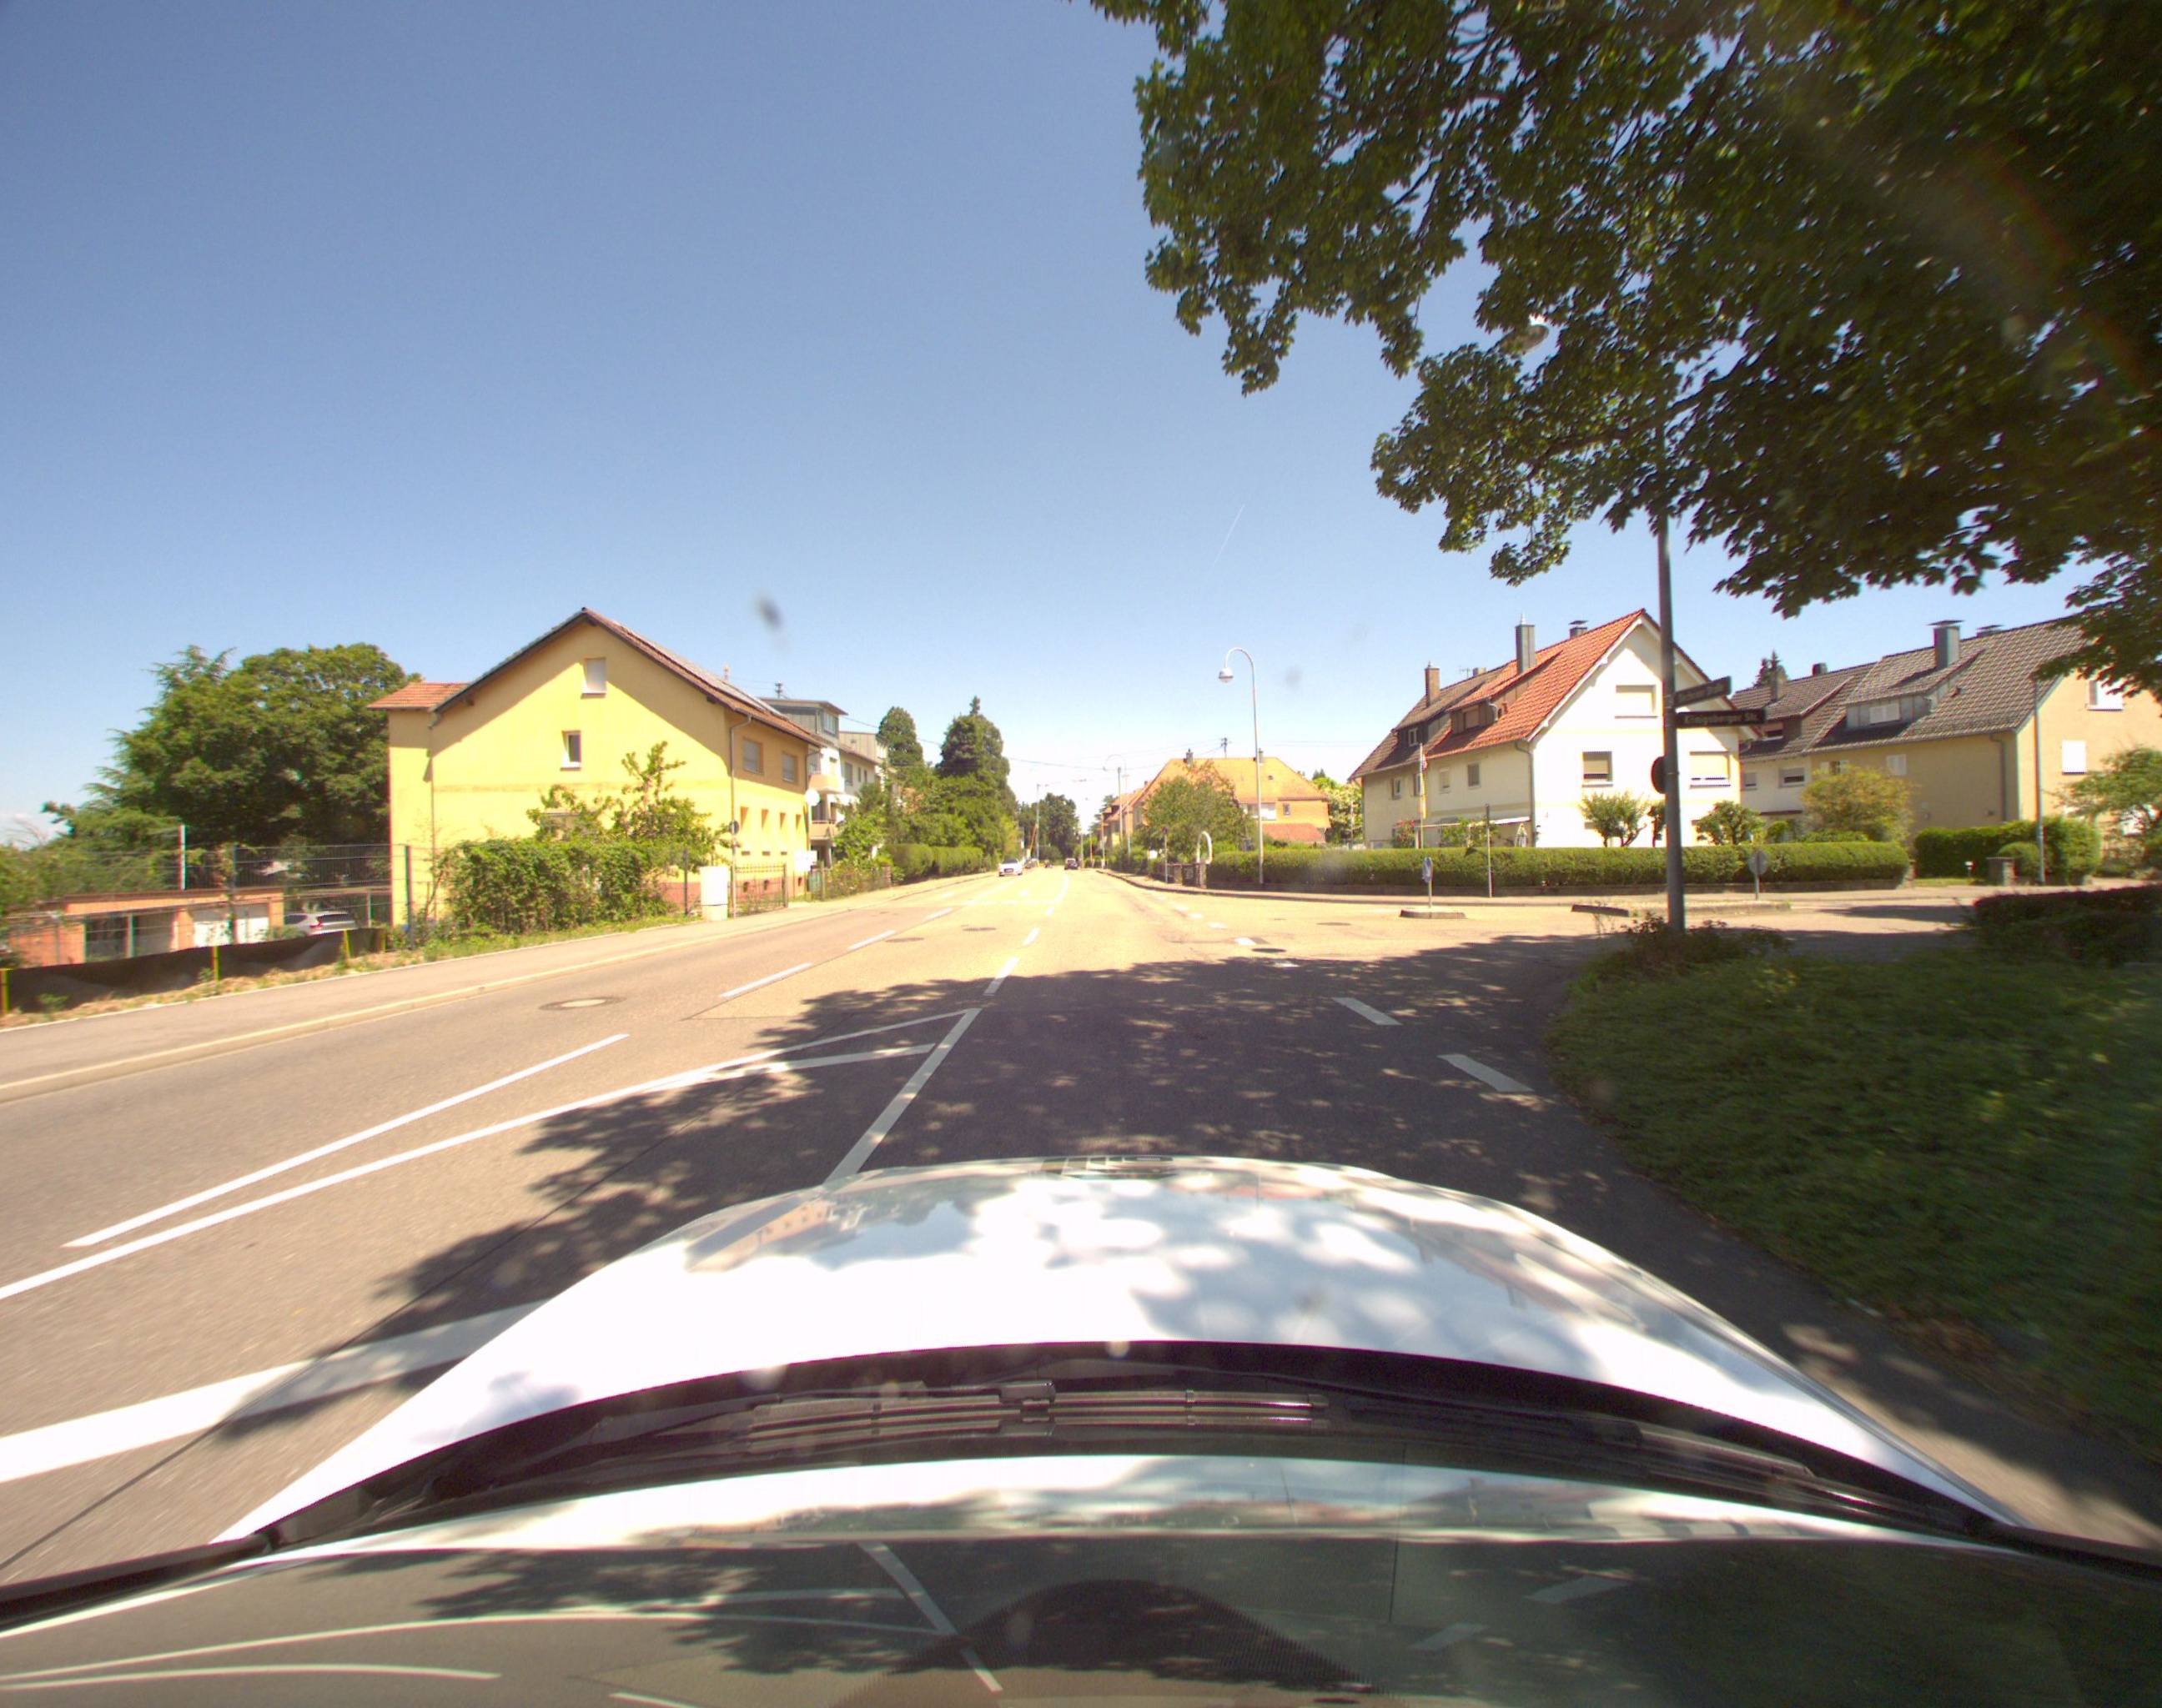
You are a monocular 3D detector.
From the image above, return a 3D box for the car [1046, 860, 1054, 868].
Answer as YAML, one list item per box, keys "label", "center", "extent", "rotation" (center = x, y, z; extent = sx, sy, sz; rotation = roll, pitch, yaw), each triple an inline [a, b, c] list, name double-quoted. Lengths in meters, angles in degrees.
- label: "car"
  center: [-8.144, 2.578, 213.861]
  extent: [1.989, 1.850, 4.707]
  rotation: [-1, 2, -3]

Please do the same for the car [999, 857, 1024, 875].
- label: "car"
  center: [-5.719, 0.973, 67.493]
  extent: [1.675, 1.372, 4.205]
  rotation: [-3, 0, 0]

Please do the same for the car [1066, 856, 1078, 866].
- label: "car"
  center: [-1.335, 1.103, 123.747]
  extent: [1.689, 1.419, 4.546]
  rotation: [-1, -1, -3]
